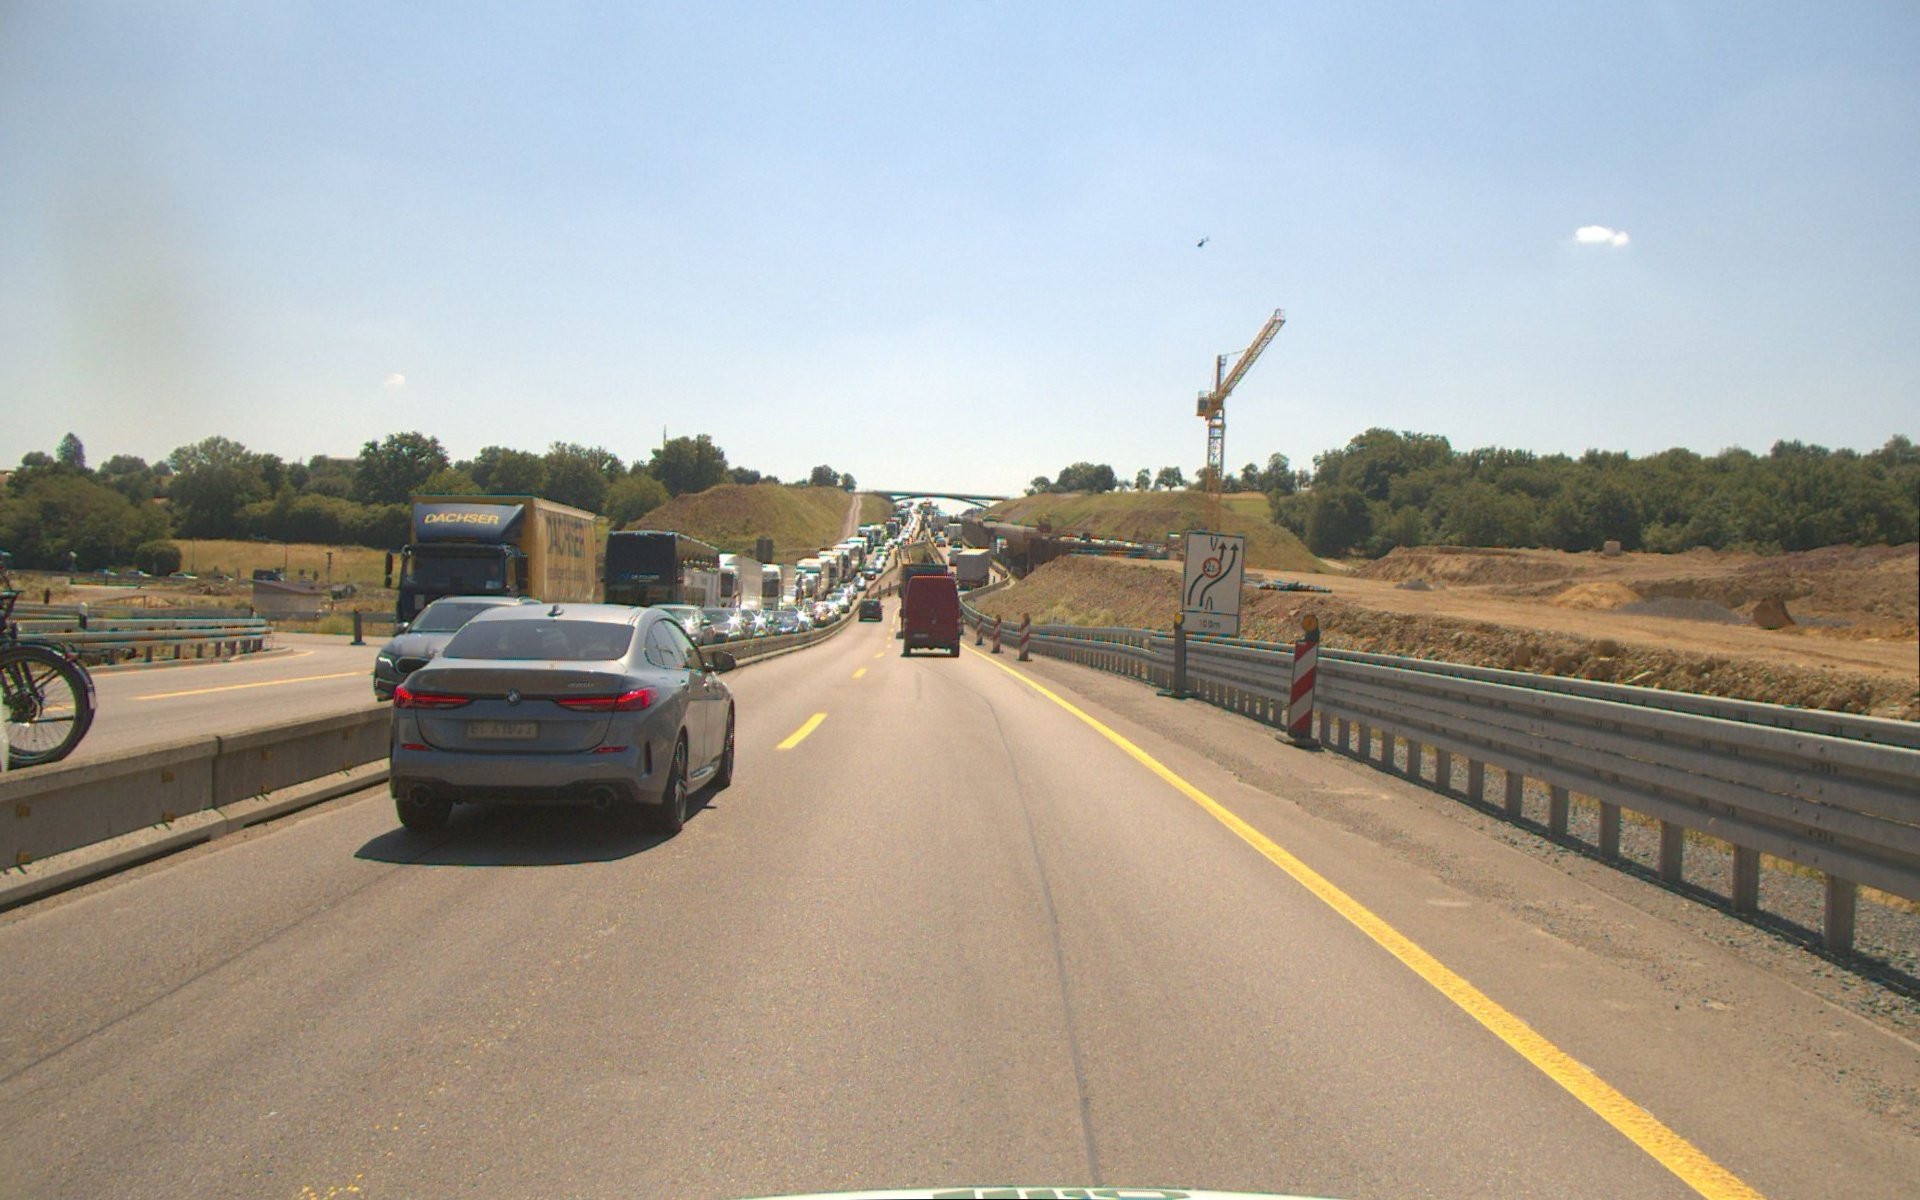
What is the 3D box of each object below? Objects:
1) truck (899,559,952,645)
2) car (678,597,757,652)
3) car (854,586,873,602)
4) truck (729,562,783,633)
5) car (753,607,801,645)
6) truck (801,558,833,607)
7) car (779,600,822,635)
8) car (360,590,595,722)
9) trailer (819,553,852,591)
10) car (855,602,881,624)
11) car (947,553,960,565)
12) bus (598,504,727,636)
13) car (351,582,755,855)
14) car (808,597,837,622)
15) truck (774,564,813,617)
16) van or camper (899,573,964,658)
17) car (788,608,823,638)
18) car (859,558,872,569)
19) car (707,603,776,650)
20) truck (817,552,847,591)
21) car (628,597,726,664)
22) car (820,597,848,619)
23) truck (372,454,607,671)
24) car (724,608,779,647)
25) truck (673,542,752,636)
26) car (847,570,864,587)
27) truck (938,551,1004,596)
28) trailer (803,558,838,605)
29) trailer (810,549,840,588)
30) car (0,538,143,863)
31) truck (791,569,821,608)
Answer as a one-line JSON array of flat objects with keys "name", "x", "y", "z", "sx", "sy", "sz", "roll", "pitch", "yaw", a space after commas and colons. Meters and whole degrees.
[{"name": "truck", "x": -1.970, "y": 0.038, "z": 95.833, "sx": 2.959, "sy": 4.774, "sz": 6.931, "roll": -1, "pitch": 1, "yaw": -1}, {"name": "car", "x": -7.331, "y": 0.695, "z": 50.425, "sx": 1.801, "sy": 1.469, "sz": 4.928, "roll": 2, "pitch": 1, "yaw": -2}, {"name": "car", "x": -9.452, "y": -0.572, "z": 162.443, "sx": 1.790, "sy": 1.562, "sz": 4.544, "roll": 0, "pitch": 1, "yaw": -2}, {"name": "truck", "x": -12.592, "y": -0.160, "z": 102.517, "sx": 2.918, "sy": 4.258, "sz": 5.870, "roll": 1, "pitch": 0, "yaw": -4}, {"name": "car", "x": -8.214, "y": 1.133, "z": 74.433, "sx": 1.776, "sy": 1.462, "sz": 5.118, "roll": 2, "pitch": 1, "yaw": -3}, {"name": "truck", "x": -13.083, "y": -1.657, "z": 151.831, "sx": 2.499, "sy": 4.304, "sz": 6.528, "roll": 1, "pitch": 1, "yaw": -2}, {"name": "car", "x": -8.438, "y": 0.892, "z": 87.731, "sx": 1.954, "sy": 1.648, "sz": 4.880, "roll": 2, "pitch": 1, "yaw": -3}, {"name": "car", "x": -6.415, "y": 0.667, "z": 22.628, "sx": 1.844, "sy": 1.457, "sz": 5.123, "roll": 2, "pitch": 1, "yaw": -2}, {"name": "trailer", "x": -15.443, "y": -3.500, "z": 206.261, "sx": 2.980, "sy": 4.631, "sz": 12.129, "roll": 1, "pitch": 1, "yaw": 1}, {"name": "car", "x": -7.124, "y": 0.968, "z": 128.203, "sx": 1.972, "sy": 1.572, "sz": 4.130, "roll": 1, "pitch": 1, "yaw": -3}, {"name": "car", "x": -0.988, "y": -6.245, "z": 252.863, "sx": 1.913, "sy": 1.669, "sz": 4.266, "roll": 2, "pitch": 1, "yaw": -2}, {"name": "bus", "x": -10.936, "y": -1.135, "z": 62.303, "sx": 2.684, "sy": 4.338, "sz": 14.471, "roll": 2, "pitch": 1, "yaw": -2}, {"name": "car", "x": -2.617, "y": 0.658, "z": 11.822, "sx": 1.814, "sy": 1.477, "sz": 4.741, "roll": 2, "pitch": 1, "yaw": -2}, {"name": "car", "x": -9.648, "y": 0.628, "z": 116.419, "sx": 1.790, "sy": 1.601, "sz": 3.998, "roll": 2, "pitch": 1, "yaw": -2}, {"name": "truck", "x": -12.866, "y": -0.749, "z": 128.515, "sx": 2.474, "sy": 3.923, "sz": 8.667, "roll": 1, "pitch": 0, "yaw": -3}, {"name": "van or camper", "x": -1.044, "y": 0.474, "z": 57.368, "sx": 1.989, "sy": 2.792, "sz": 4.512, "roll": 1, "pitch": 1, "yaw": -4}, {"name": "car", "x": -9.740, "y": 1.430, "z": 104.648, "sx": 1.954, "sy": 1.659, "sz": 4.756, "roll": 2, "pitch": 1, "yaw": -3}, {"name": "car", "x": -13.195, "y": -5.127, "z": 230.317, "sx": 1.712, "sy": 1.433, "sz": 3.999, "roll": 1, "pitch": 1, "yaw": -2}, {"name": "car", "x": -7.598, "y": 0.880, "z": 57.842, "sx": 1.879, "sy": 1.448, "sz": 5.088, "roll": 2, "pitch": 0, "yaw": -2}, {"name": "truck", "x": -15.510, "y": -3.439, "z": 200.567, "sx": 2.989, "sy": 4.559, "sz": 5.981, "roll": 1, "pitch": 0, "yaw": 1}, {"name": "car", "x": -6.955, "y": 0.716, "z": 41.103, "sx": 1.822, "sy": 1.520, "sz": 4.901, "roll": -1, "pitch": 0, "yaw": -3}, {"name": "car", "x": -9.659, "y": 0.596, "z": 127.359, "sx": 1.954, "sy": 1.584, "sz": 4.337, "roll": 2, "pitch": 1, "yaw": -2}, {"name": "truck", "x": -10.369, "y": -0.724, "z": 37.744, "sx": 2.746, "sy": 4.225, "sz": 10.074, "roll": 1, "pitch": 0, "yaw": -2}, {"name": "car", "x": -8.185, "y": 1.053, "z": 65.279, "sx": 1.796, "sy": 1.448, "sz": 4.680, "roll": 1, "pitch": -1, "yaw": -3}, {"name": "truck", "x": -11.813, "y": -0.548, "z": 79.590, "sx": 3.035, "sy": 4.271, "sz": 6.698, "roll": 1, "pitch": 0, "yaw": -3}, {"name": "car", "x": -11.891, "y": -2.474, "z": 188.196, "sx": 1.954, "sy": 1.814, "sz": 3.998, "roll": 2, "pitch": 1, "yaw": -4}, {"name": "truck", "x": 1.421, "y": -3.222, "z": 200.688, "sx": 5.050, "sy": 5.084, "sz": 13.888, "roll": 2, "pitch": 1, "yaw": 13}, {"name": "trailer", "x": -13.408, "y": -1.781, "z": 159.628, "sx": 2.542, "sy": 4.331, "sz": 12.464, "roll": 1, "pitch": 1, "yaw": -2}, {"name": "trailer", "x": -14.853, "y": -3.385, "z": 182.206, "sx": 2.727, "sy": 4.000, "sz": 11.003, "roll": 1, "pitch": 0, "yaw": -2}, {"name": "car", "x": -6.302, "y": 0.536, "z": 7.582, "sx": 2.324, "sy": 1.756, "sz": 5.780, "roll": 2, "pitch": 1, "yaw": -2}, {"name": "truck", "x": -13.317, "y": -1.061, "z": 143.350, "sx": 2.385, "sy": 3.203, "sz": 7.020, "roll": 1, "pitch": 1, "yaw": -3}]
